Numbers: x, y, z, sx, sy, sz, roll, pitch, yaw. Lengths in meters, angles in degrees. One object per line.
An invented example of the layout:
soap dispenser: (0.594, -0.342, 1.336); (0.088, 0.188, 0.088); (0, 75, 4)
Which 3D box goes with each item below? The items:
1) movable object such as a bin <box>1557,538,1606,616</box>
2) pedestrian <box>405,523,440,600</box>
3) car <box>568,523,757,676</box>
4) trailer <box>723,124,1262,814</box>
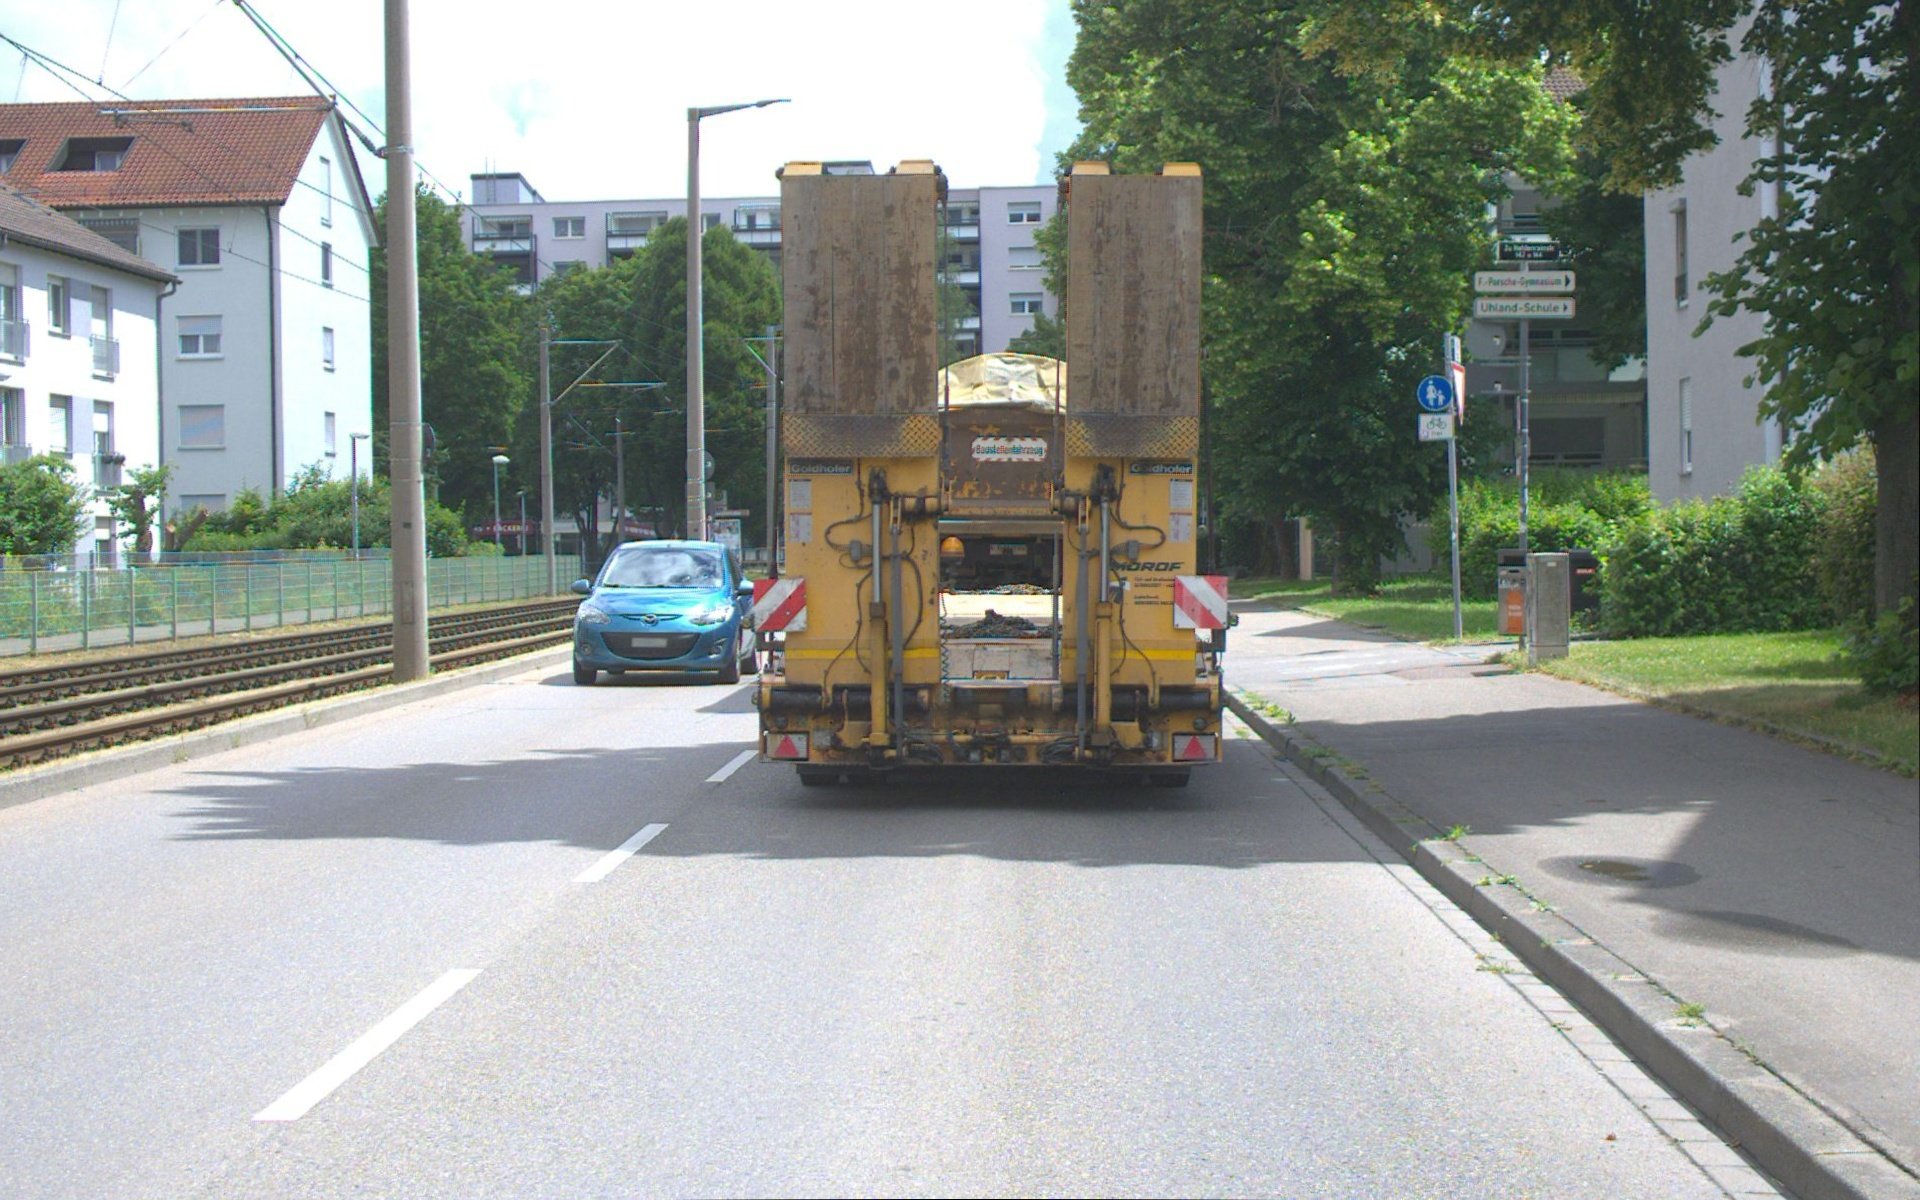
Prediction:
movable object such as a bin: (7.811, -0.289, 43.203); (0.496, 0.951, 0.580); (-2, 1, 1)
pedestrian: (-13.227, -0.948, 84.600); (0.659, 1.842, 0.768); (-2, 1, 1)
car: (-3.071, -0.031, 36.062); (1.623, 1.520, 3.581); (0, 1, 1)
trailer: (0.009, -0.777, 24.474); (2.827, 3.633, 12.355); (1, 1, -2)
